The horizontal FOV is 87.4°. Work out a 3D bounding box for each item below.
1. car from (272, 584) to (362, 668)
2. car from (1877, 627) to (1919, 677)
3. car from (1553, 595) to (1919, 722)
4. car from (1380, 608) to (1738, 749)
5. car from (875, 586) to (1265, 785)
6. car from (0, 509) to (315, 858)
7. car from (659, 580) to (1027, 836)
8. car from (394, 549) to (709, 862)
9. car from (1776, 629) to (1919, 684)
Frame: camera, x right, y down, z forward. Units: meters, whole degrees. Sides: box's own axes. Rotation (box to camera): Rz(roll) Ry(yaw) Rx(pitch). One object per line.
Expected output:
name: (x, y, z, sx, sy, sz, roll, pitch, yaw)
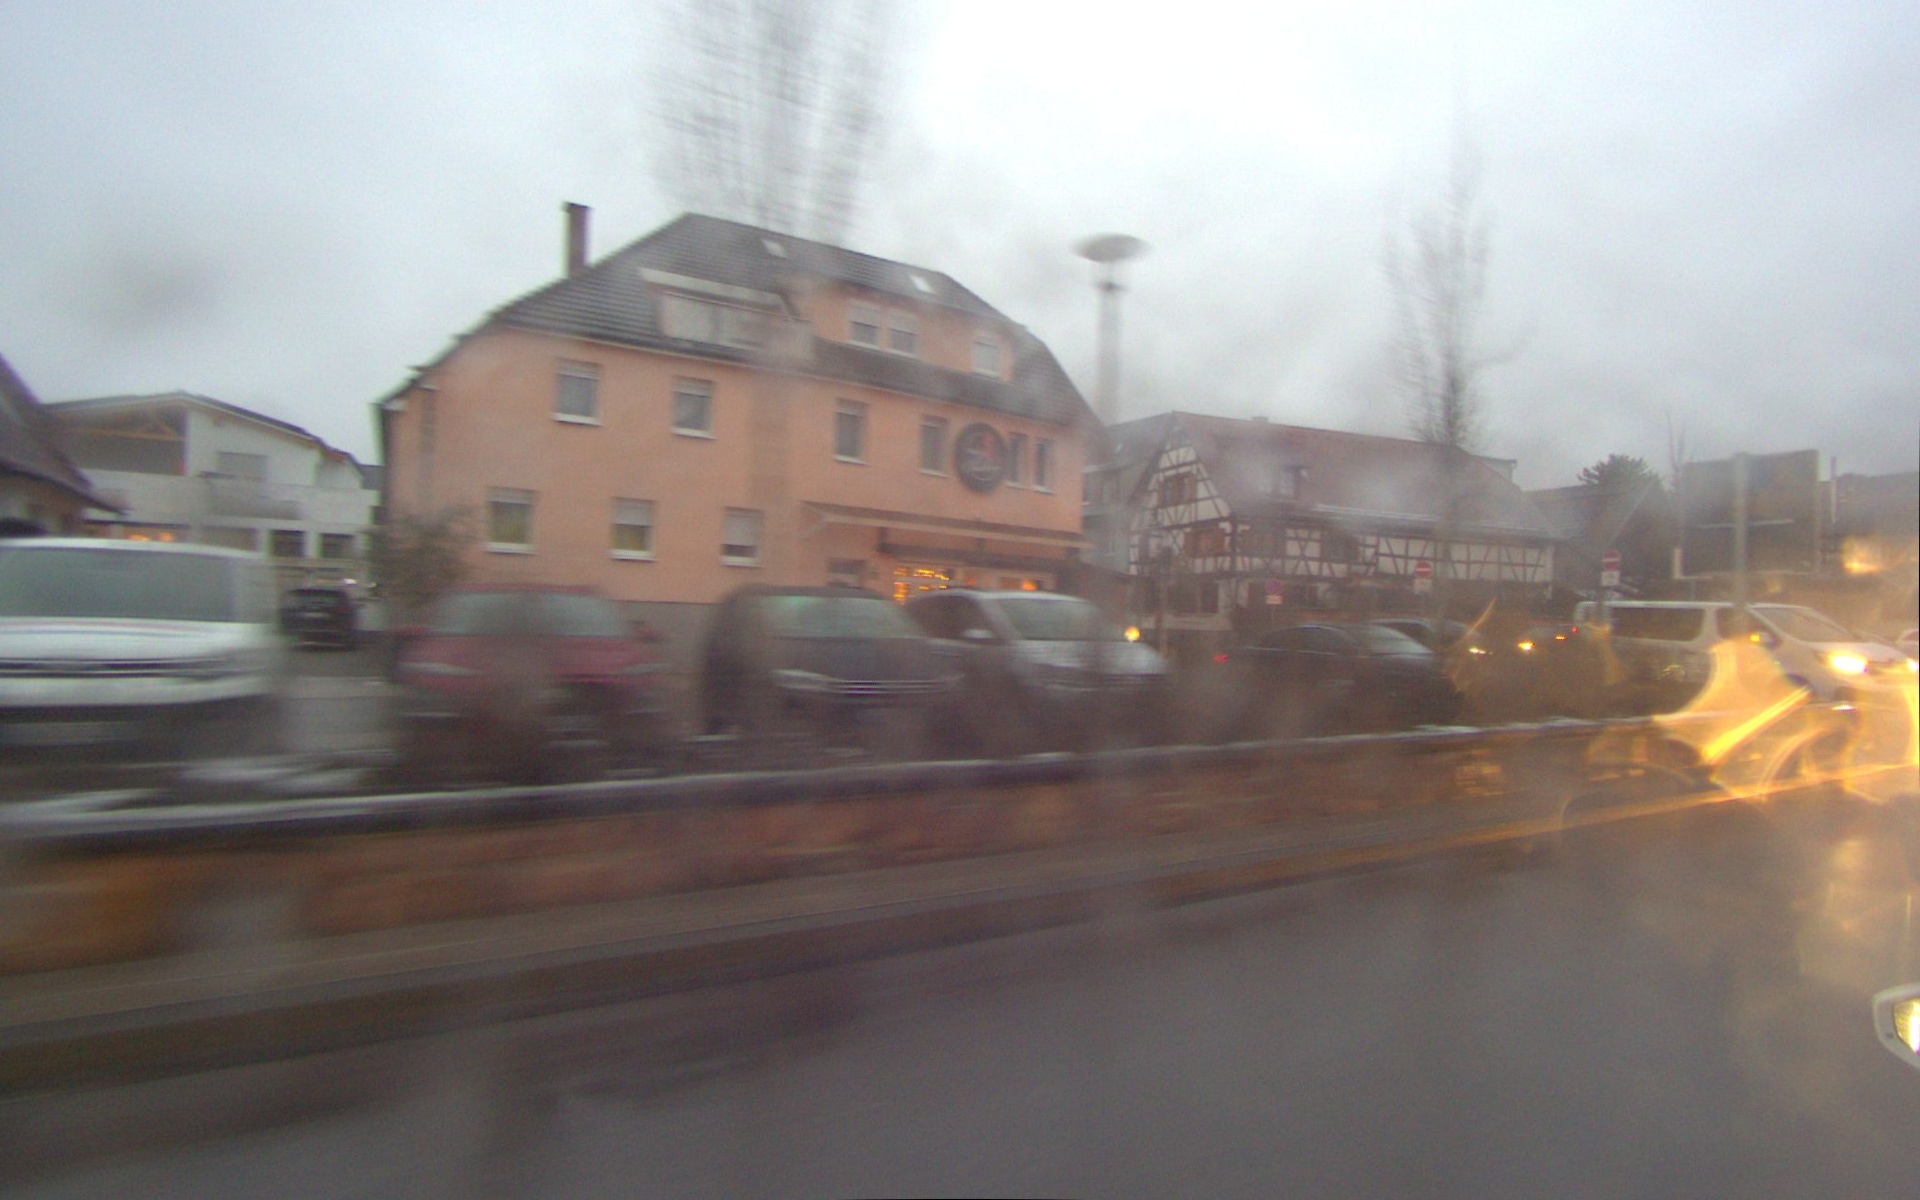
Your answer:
car: (-16.842, 0.683, 26.454, 1.790, 2.040, 3.968, 1, -2, -30)
car: (33.011, 1.745, 33.052, 1.947, 1.675, 4.660, 1, -2, 9)
car: (14.209, 0.918, 18.651, 1.958, 1.972, 5.760, 1, 0, -16)
car: (8.357, 1.000, 14.381, 1.977, 1.706, 3.968, 1, -2, -30)
car: (0.909, 0.787, 11.231, 1.975, 1.706, 4.846, 0, -1, -28)
car: (-5.910, 0.482, 7.295, 1.823, 1.825, 4.392, 1, -2, -30)
car: (-1.413, 0.858, 9.887, 1.977, 1.891, 4.481, 1, -2, -30)
car: (-3.678, 0.696, 8.494, 1.847, 1.891, 4.481, 1, -2, -30)
car: (26.636, 1.635, 29.819, 1.722, 1.478, 4.076, 1, -2, 4)
